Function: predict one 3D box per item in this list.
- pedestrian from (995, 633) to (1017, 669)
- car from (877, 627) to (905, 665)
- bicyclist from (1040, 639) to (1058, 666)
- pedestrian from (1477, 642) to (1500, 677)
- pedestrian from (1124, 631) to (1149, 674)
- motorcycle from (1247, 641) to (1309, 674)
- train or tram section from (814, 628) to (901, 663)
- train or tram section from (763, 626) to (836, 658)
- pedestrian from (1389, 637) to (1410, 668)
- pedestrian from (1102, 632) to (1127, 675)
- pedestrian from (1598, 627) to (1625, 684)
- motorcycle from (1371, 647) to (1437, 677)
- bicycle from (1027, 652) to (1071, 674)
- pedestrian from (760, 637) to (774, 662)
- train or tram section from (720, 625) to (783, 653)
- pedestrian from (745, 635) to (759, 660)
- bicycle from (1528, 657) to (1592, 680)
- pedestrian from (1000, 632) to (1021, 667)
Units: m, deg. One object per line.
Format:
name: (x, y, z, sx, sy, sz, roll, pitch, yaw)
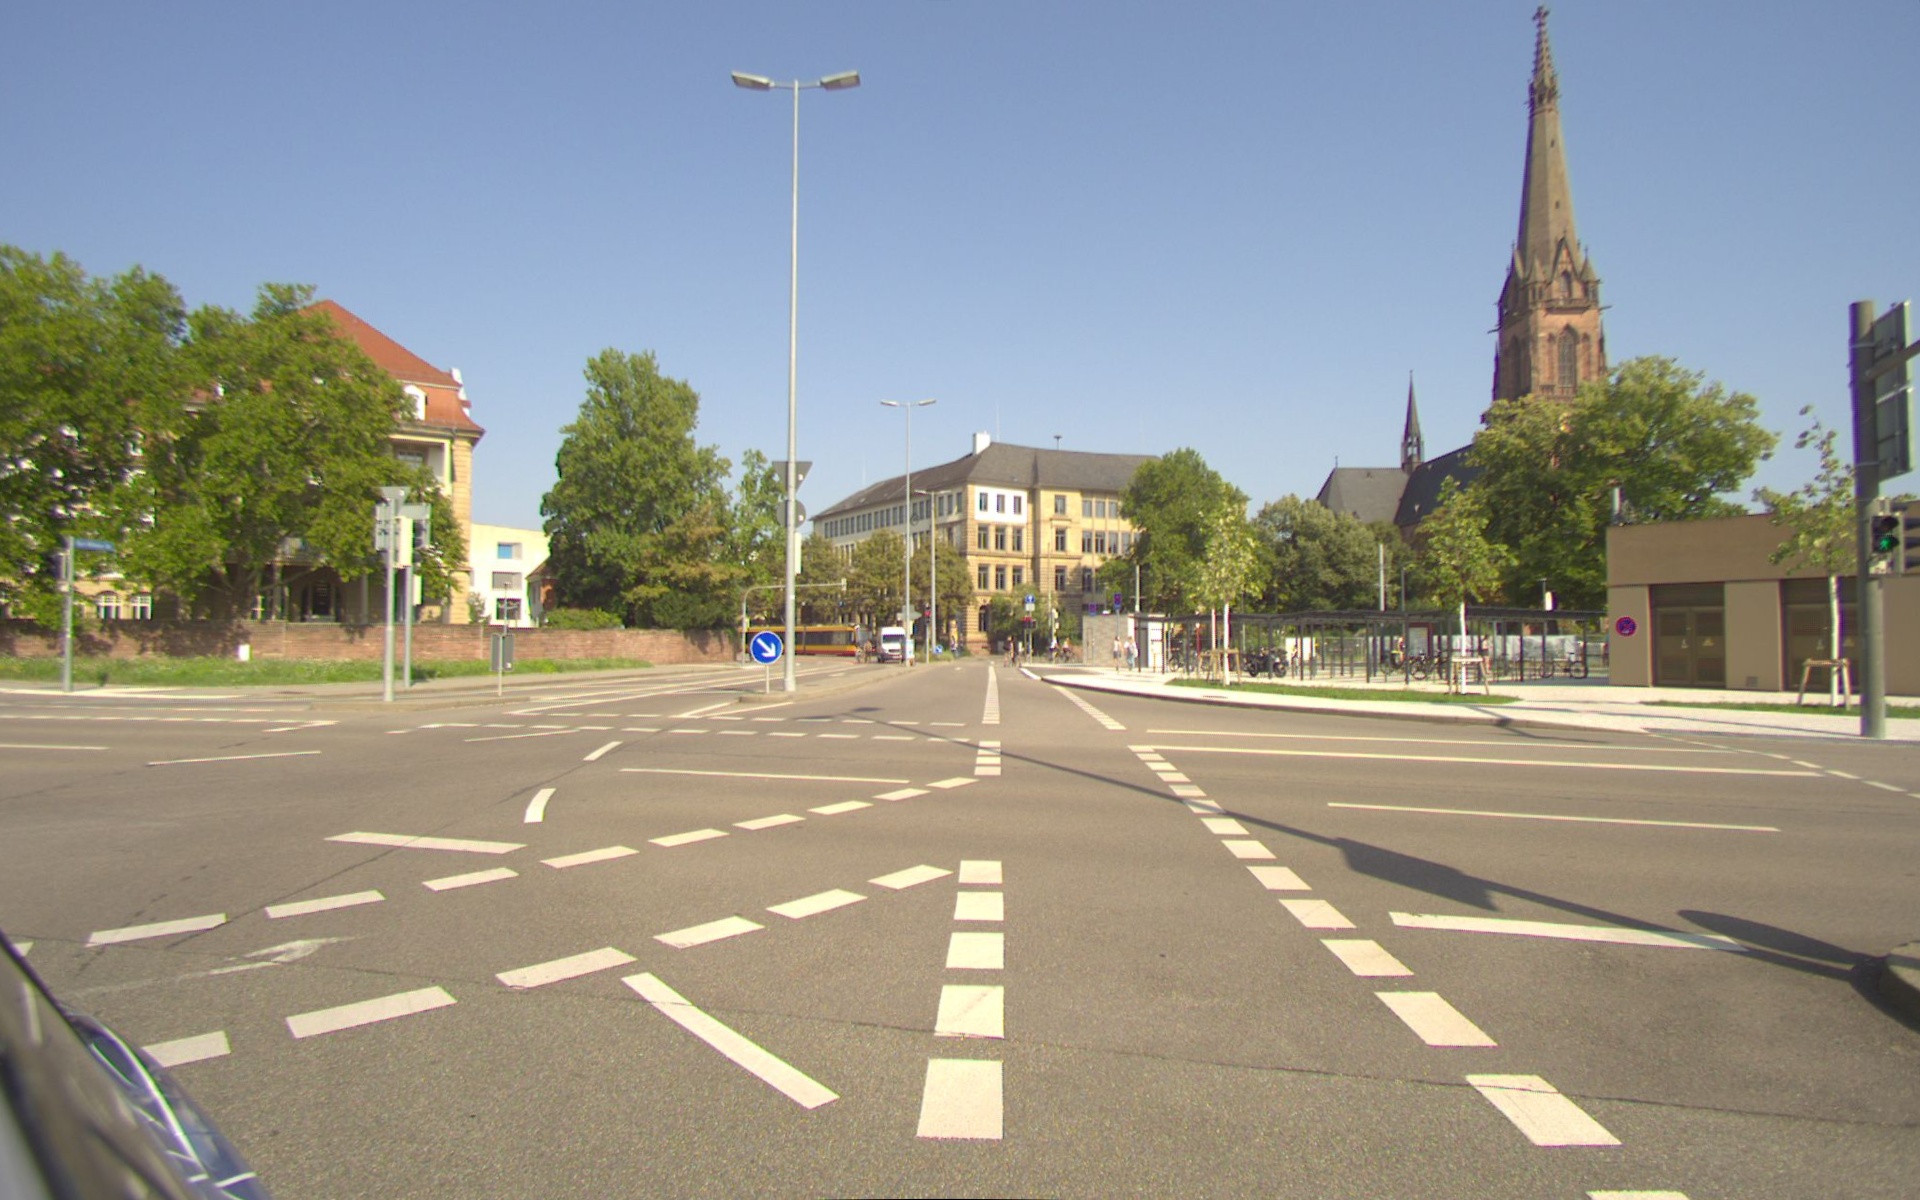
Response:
pedestrian: (2.627, 2.888, 57.590, 1.197, 2.029, 1.340, 0, -3, 6)
car: (-5.009, 3.312, 74.157, 1.970, 2.470, 5.556, -1, 0, -3)
bicyclist: (5.977, 3.526, 67.978, 1.033, 1.732, 1.039, -1, 0, -7)
pedestrian: (21.746, 2.454, 41.645, 0.680, 1.419, 0.589, 2, -3, -37)
pedestrian: (8.375, 2.491, 48.118, 0.848, 2.029, 1.009, 0, -3, -11)
motorcycle: (14.725, 2.650, 46.952, 0.777, 1.460, 2.774, 2, -4, -41)
train or tram section: (-10.975, 4.649, 106.385, 2.592, 3.241, 13.926, -1, 0, -35)
train or tram section: (-18.904, 4.771, 117.847, 2.592, 3.241, 13.926, -1, 0, -35)
pedestrian: (20.075, 2.402, 46.241, 0.680, 1.419, 0.589, 2, -3, -37)
pedestrian: (7.390, 2.535, 48.371, 0.848, 2.029, 1.009, 0, -3, -11)
pedestrian: (19.761, 1.690, 30.702, 0.516, 1.719, 0.409, 0, -3, -10)
motorcycle: (18.316, 2.548, 41.757, 0.748, 1.214, 2.377, 2, -4, -42)
bicycle: (5.977, 4.219, 67.972, 2.817, 1.383, 1.039, -1, 0, -7)
pedestrian: (-15.708, 4.024, 82.493, 0.804, 2.029, 0.823, 0, 0, -37)
train or tram section: (-26.842, 4.893, 129.270, 2.592, 3.241, 13.926, -1, 0, -35)
pedestrian: (-16.950, 3.871, 82.340, 0.817, 2.029, 0.810, -1, 0, 44)
bicycle: (22.114, 2.524, 37.307, 0.620, 0.786, 1.933, 2, -3, -38)
pedestrian: (2.984, 2.888, 59.636, 1.197, 2.029, 1.340, 0, -3, 6)
